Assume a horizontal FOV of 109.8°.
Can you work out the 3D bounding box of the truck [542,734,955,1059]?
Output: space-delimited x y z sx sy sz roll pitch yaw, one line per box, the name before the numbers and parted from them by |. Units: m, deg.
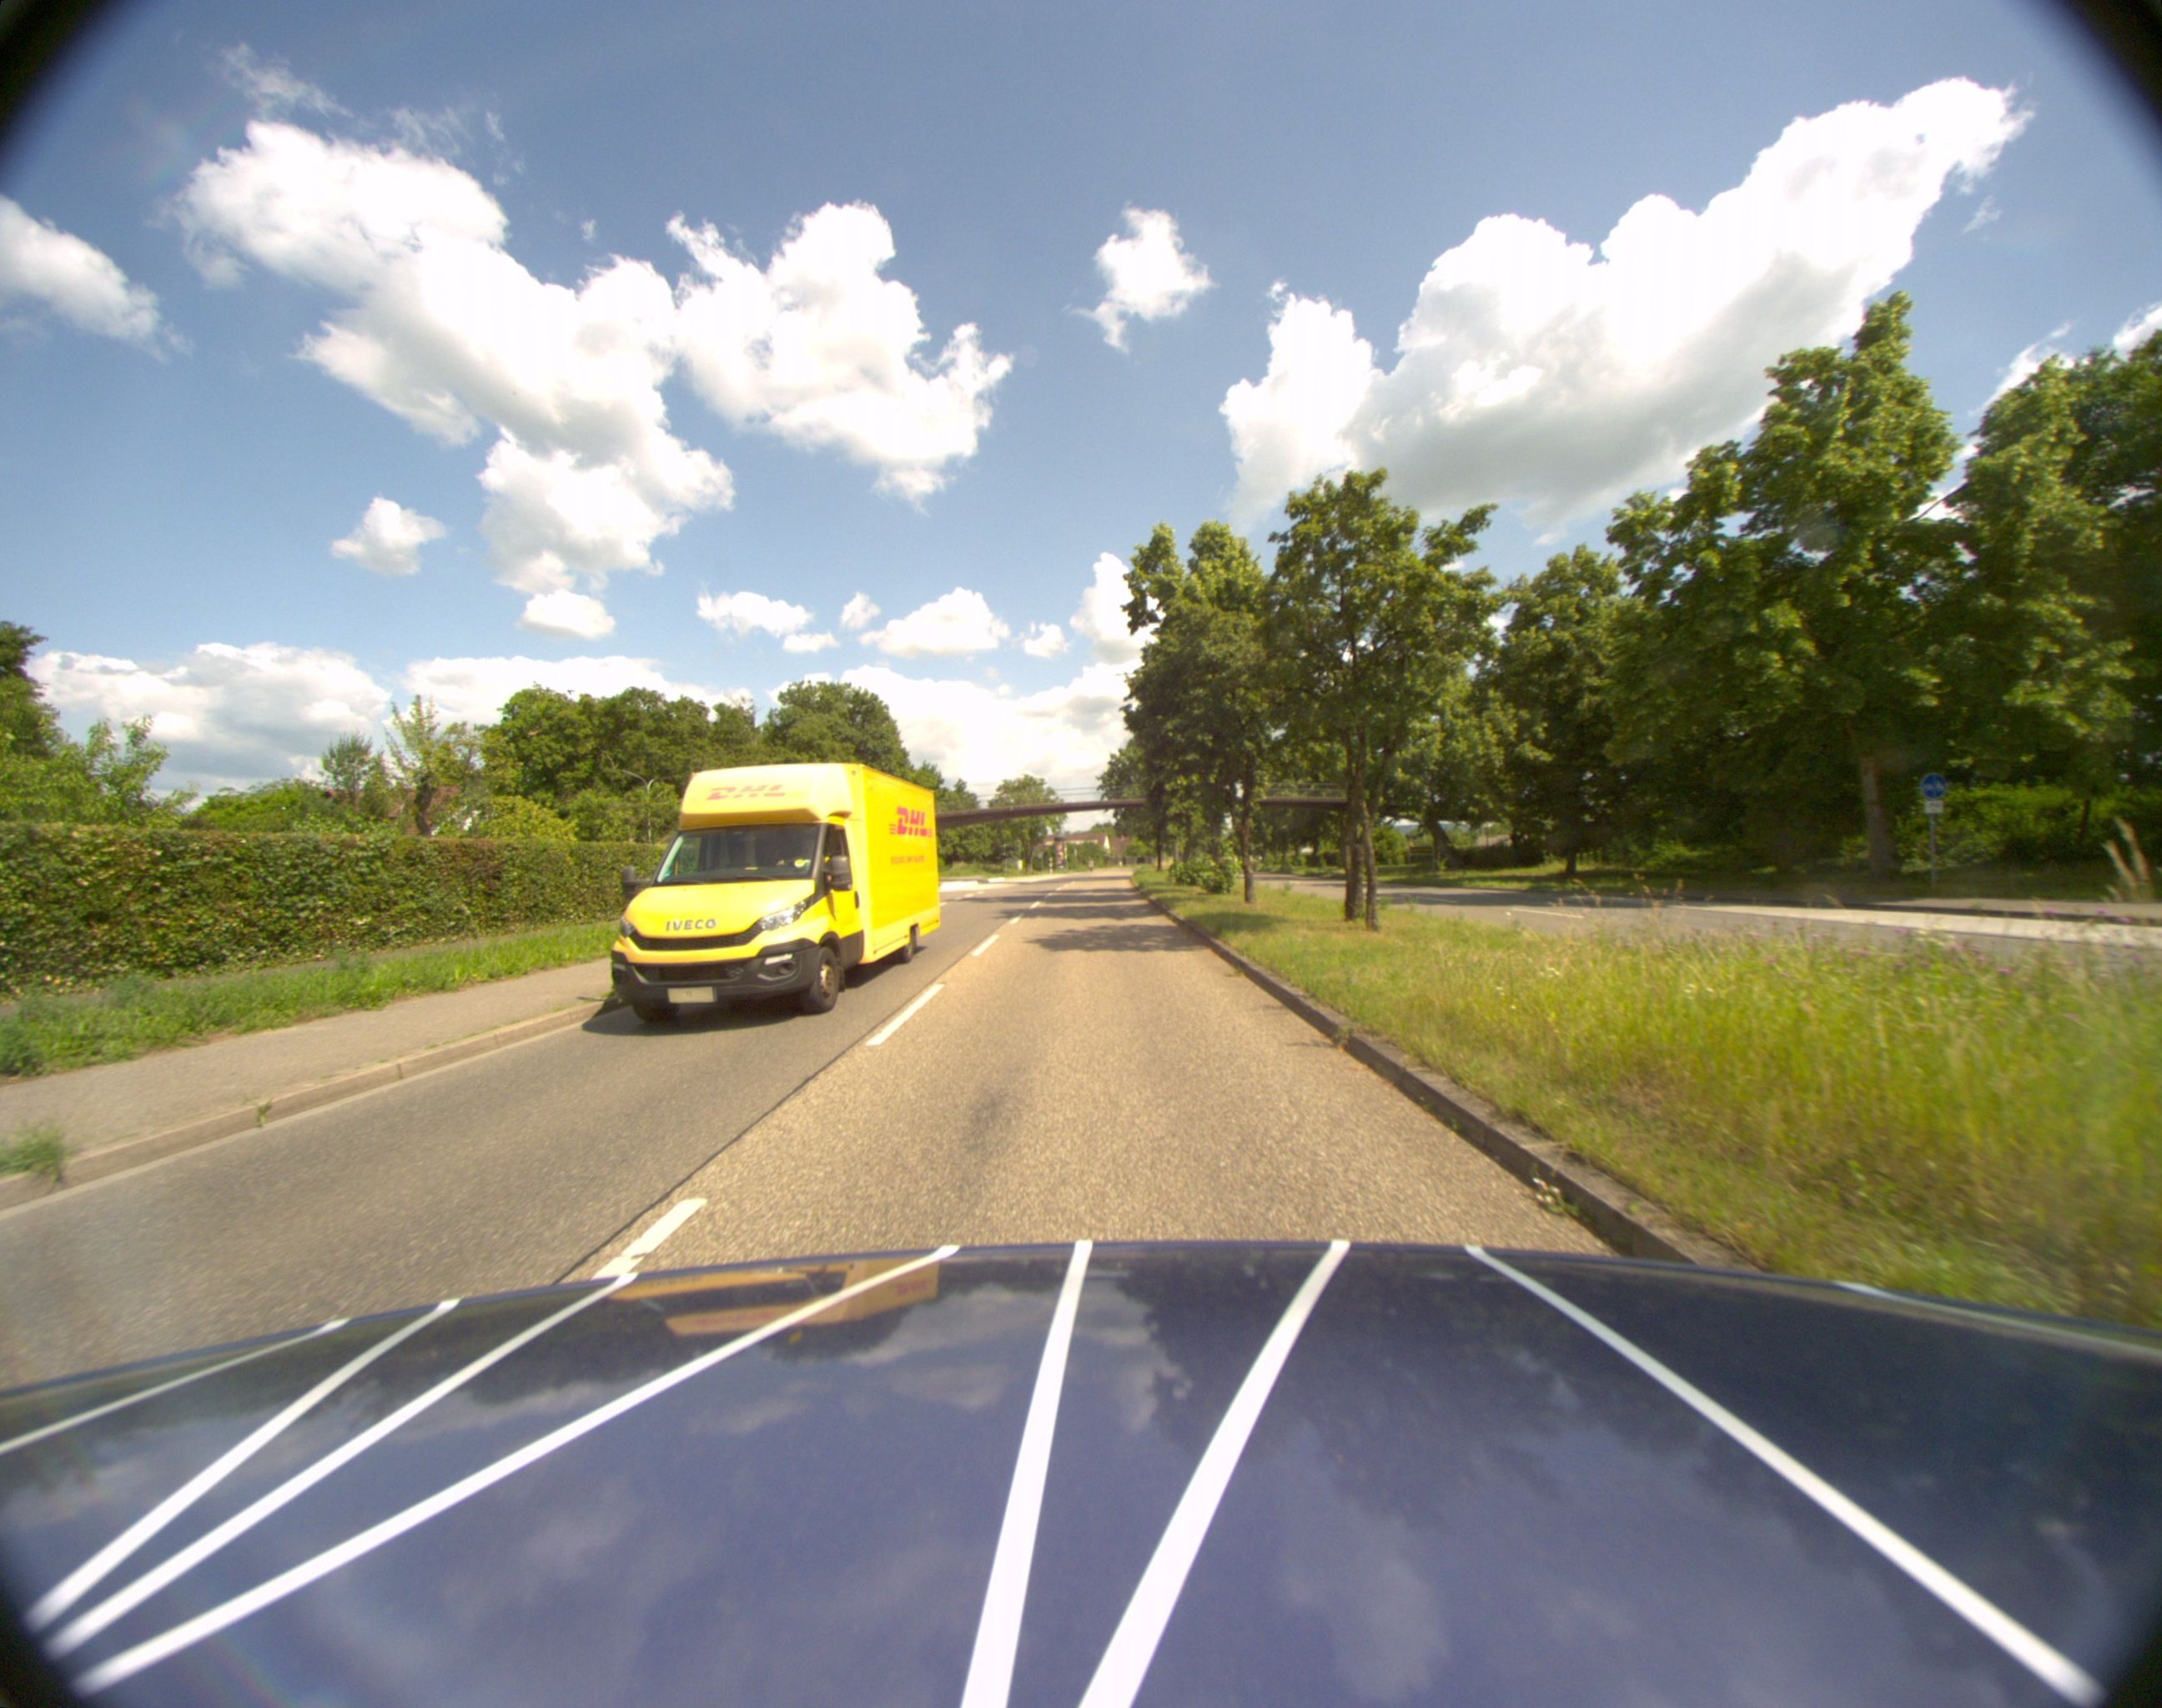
truck | -3.710 0.386 10.975 2.270 2.864 8.027 -3 0 0
